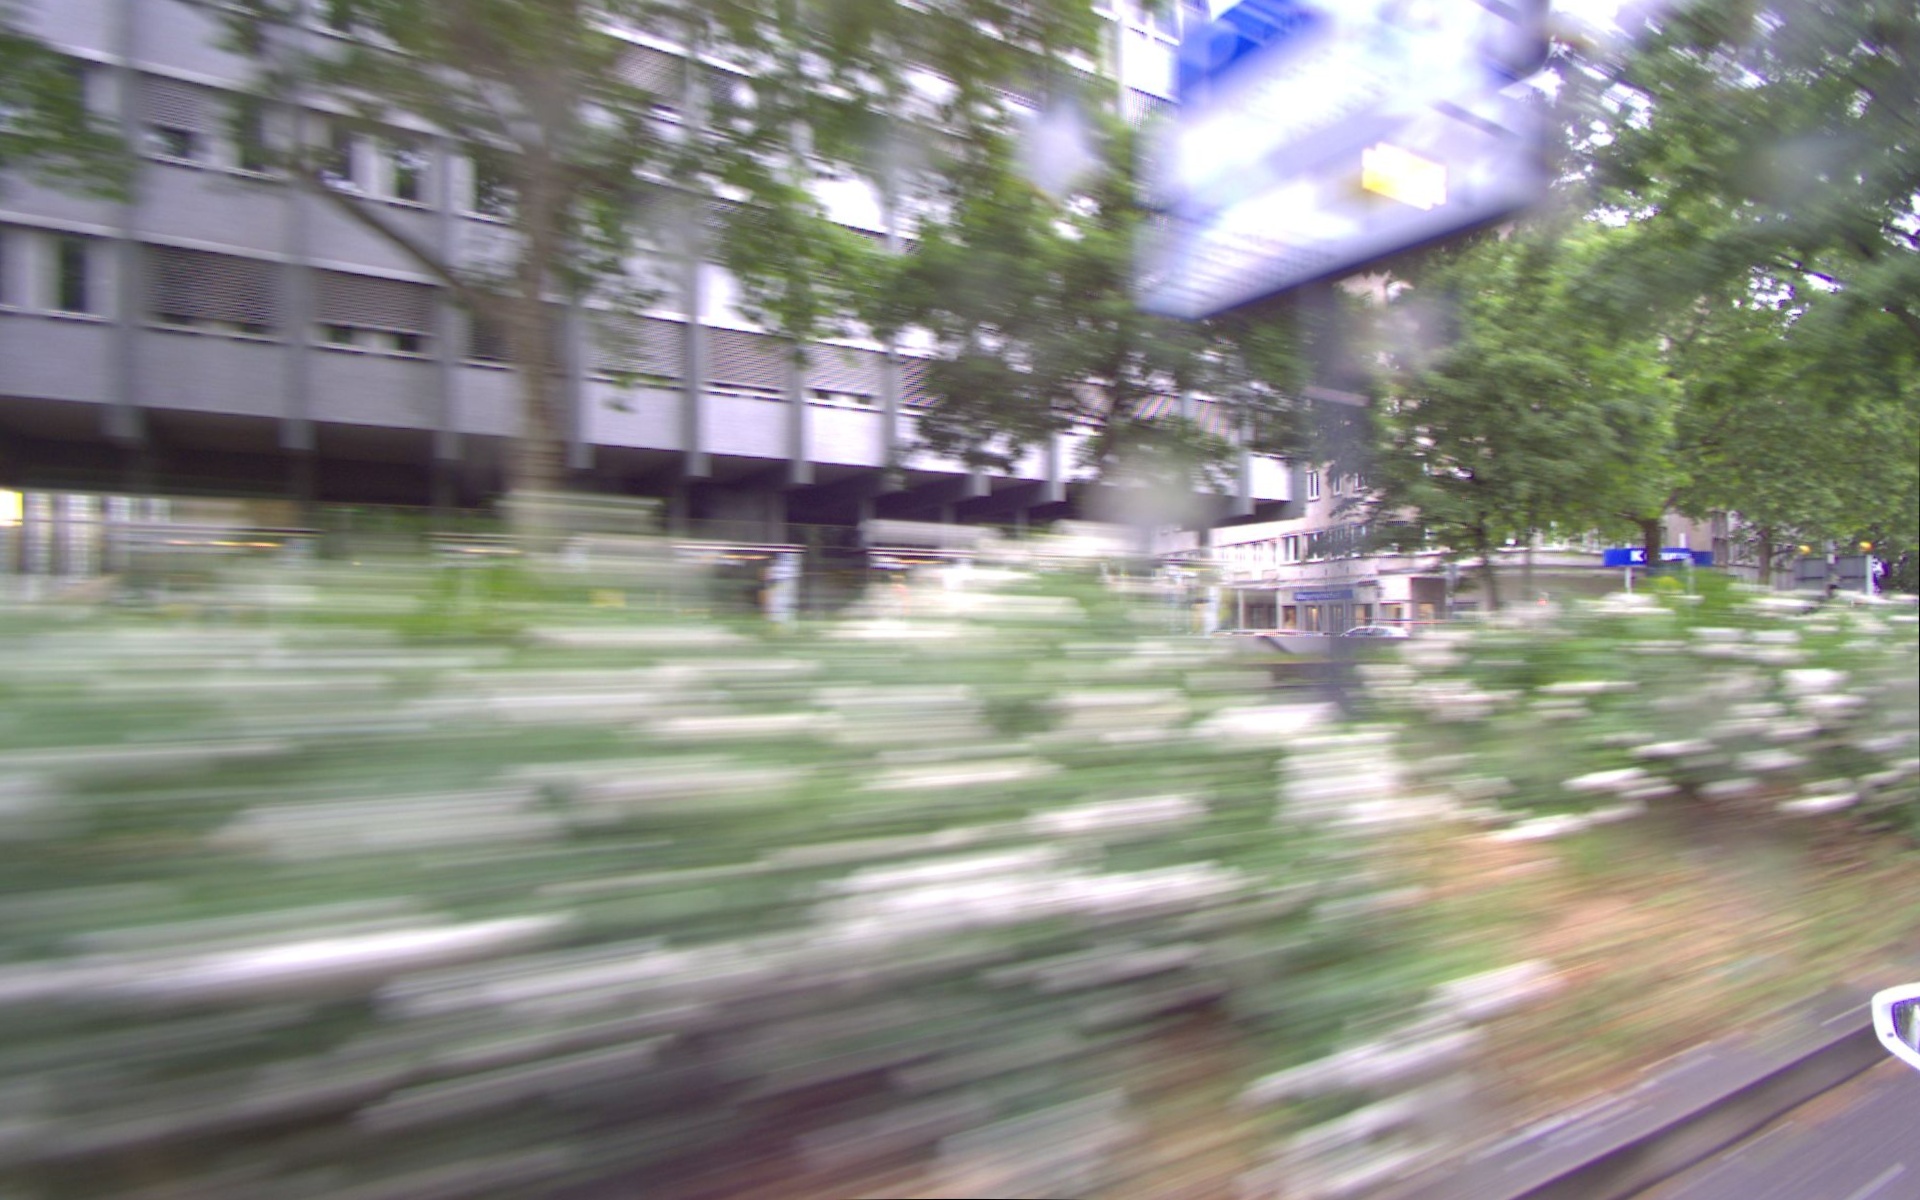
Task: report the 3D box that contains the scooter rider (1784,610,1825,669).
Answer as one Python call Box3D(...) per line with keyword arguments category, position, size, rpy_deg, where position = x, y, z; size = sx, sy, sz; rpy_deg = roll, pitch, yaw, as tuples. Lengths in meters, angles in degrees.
Box3D(category="scooter rider", position=(28.342, 1.317, 33.714), size=(0.749, 1.966, 0.894), rpy_deg=(1, 0, -33))

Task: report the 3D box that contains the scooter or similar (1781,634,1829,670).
Box3D(category="scooter or similar", position=(28.308, 1.732, 33.654), size=(0.430, 1.128, 1.175), rpy_deg=(1, -1, -33))
